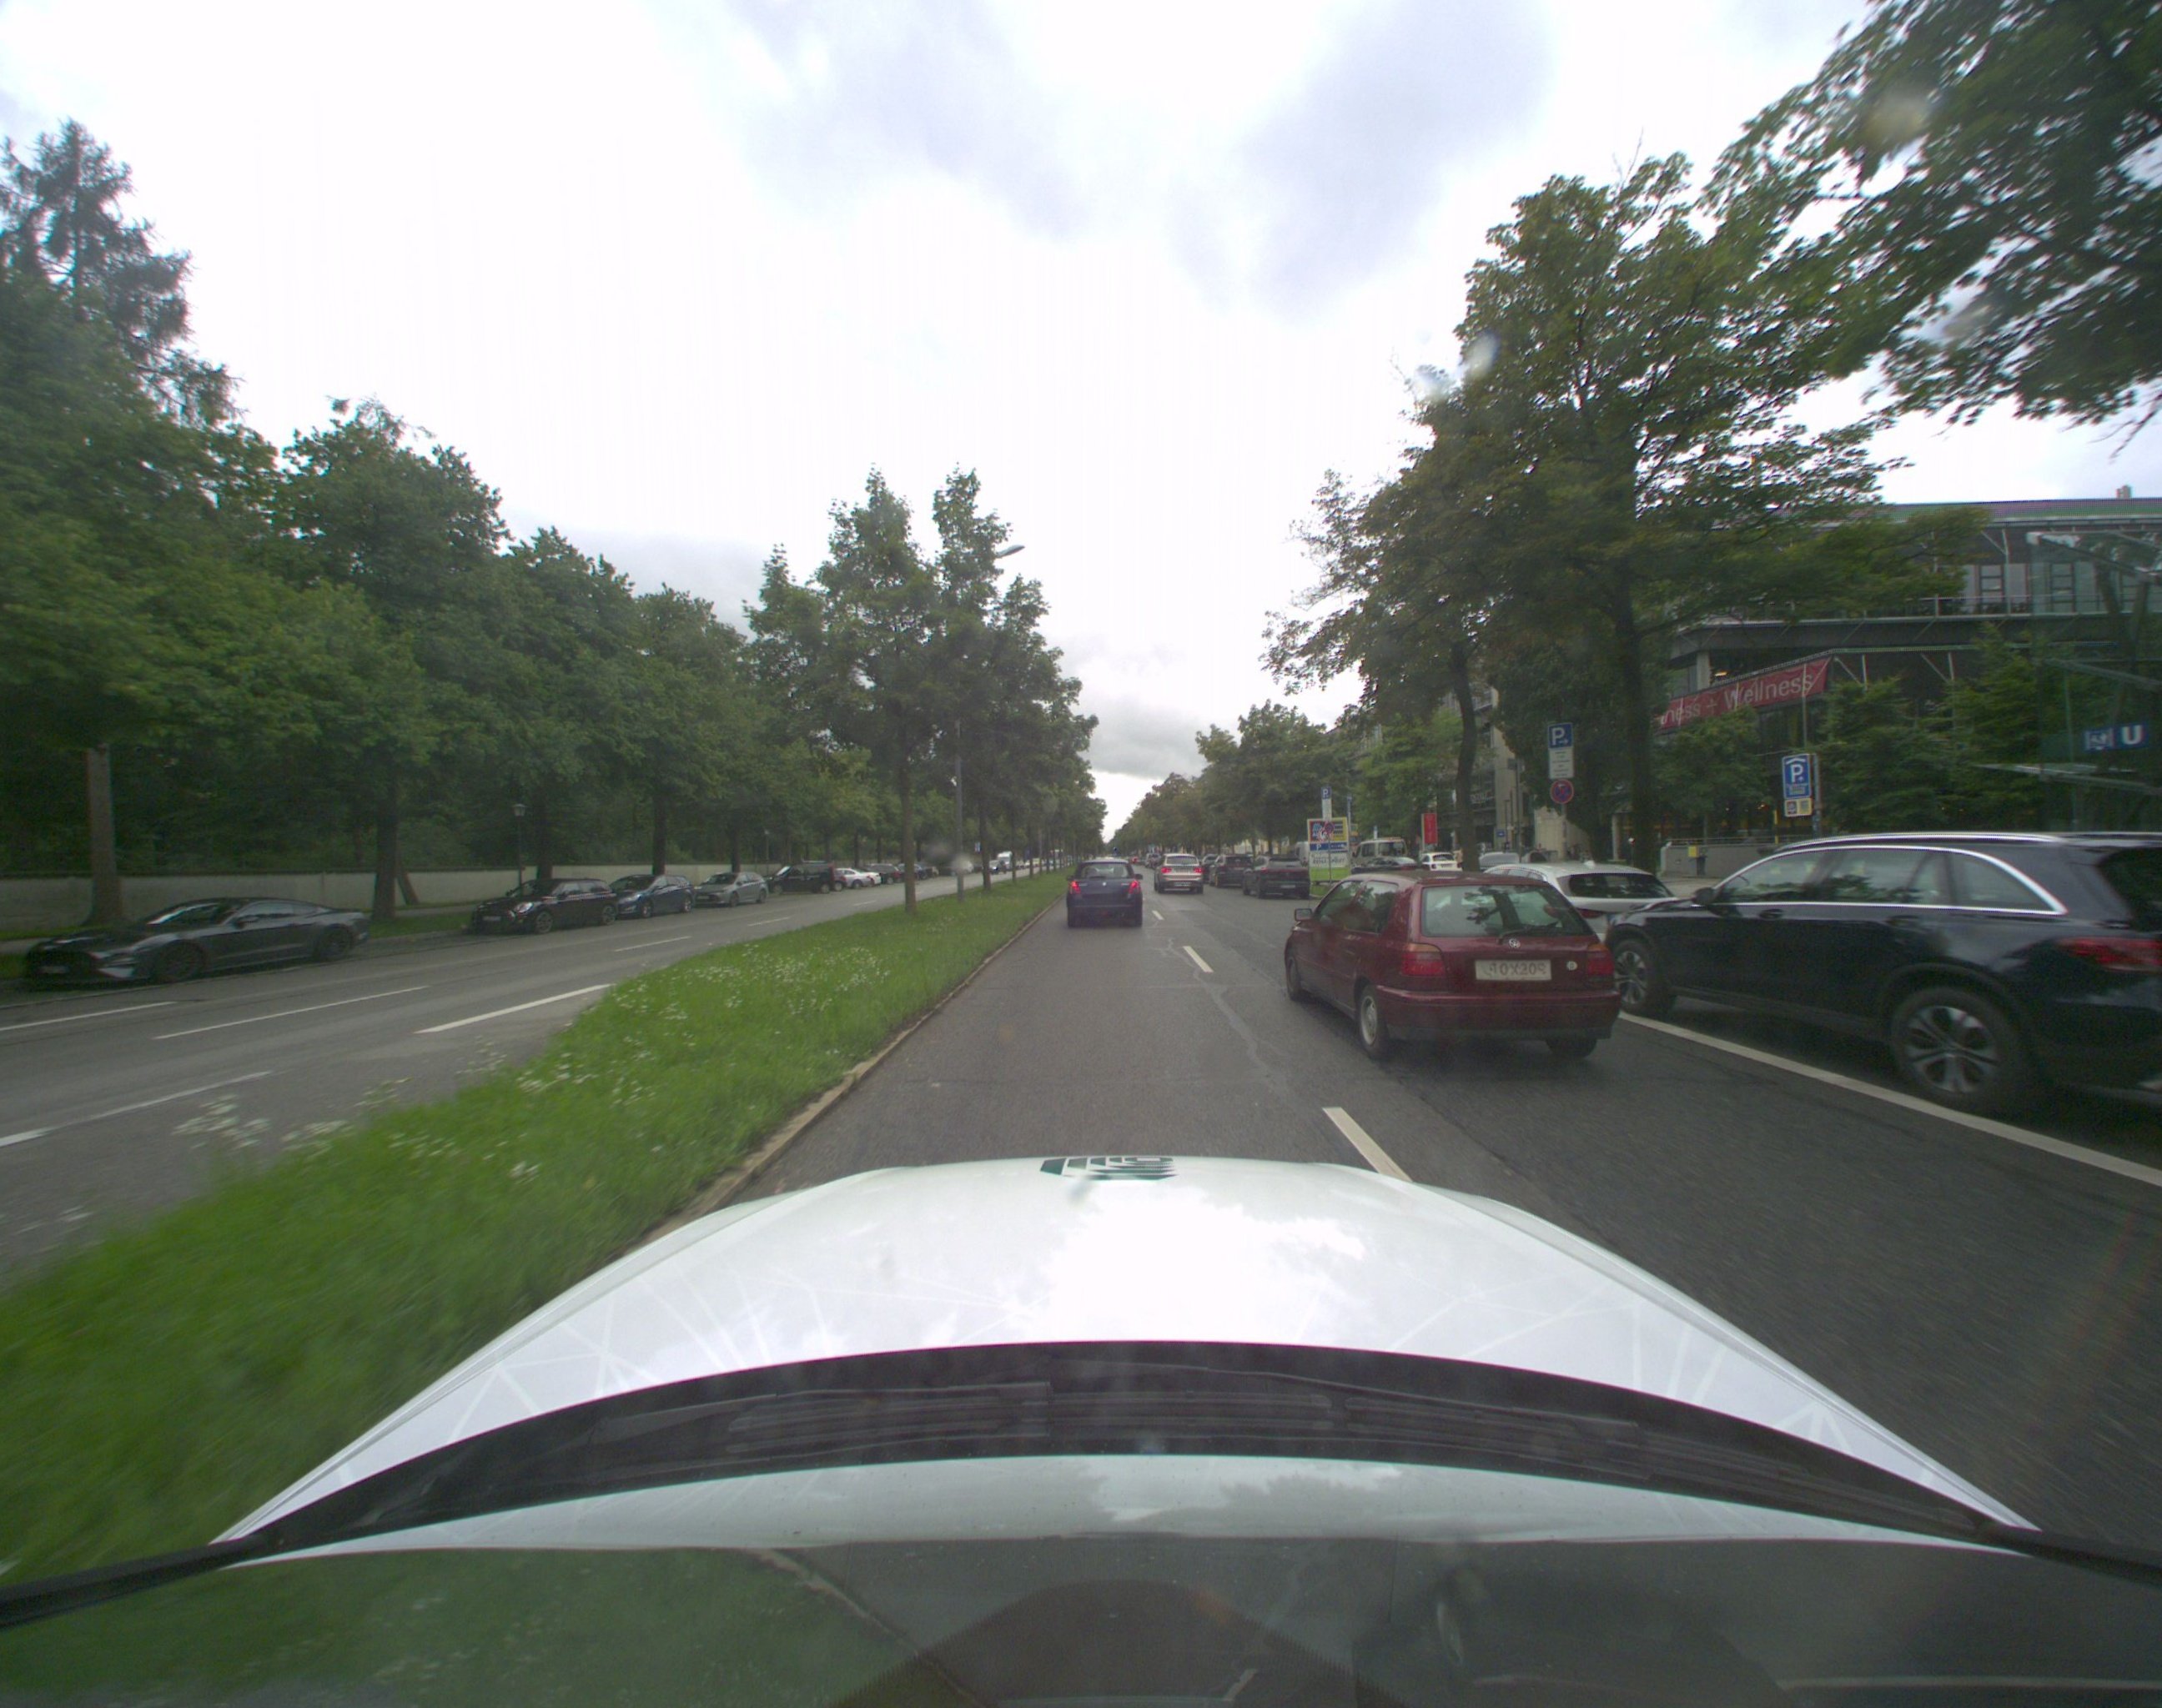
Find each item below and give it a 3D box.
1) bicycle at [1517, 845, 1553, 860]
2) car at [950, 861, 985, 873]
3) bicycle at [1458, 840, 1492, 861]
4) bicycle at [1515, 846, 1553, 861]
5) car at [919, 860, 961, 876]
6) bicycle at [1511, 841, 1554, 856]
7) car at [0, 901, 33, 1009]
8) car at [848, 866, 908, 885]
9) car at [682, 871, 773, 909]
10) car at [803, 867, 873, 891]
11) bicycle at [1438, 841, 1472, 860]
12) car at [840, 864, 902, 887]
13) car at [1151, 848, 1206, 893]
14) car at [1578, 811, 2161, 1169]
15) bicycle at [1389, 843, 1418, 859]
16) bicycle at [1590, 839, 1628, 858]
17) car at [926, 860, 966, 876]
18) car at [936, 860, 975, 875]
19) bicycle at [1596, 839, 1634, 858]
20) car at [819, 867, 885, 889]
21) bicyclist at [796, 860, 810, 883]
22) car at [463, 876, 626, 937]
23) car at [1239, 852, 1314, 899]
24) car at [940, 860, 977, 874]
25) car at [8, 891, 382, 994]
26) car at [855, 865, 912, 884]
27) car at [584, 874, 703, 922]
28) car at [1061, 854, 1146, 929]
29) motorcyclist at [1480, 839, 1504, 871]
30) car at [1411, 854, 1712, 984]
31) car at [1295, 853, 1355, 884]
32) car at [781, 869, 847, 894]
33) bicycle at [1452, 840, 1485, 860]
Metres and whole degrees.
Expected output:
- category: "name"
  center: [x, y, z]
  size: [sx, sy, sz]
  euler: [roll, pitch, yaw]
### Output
- category: "bicycle"
  center: [30.691, -0.126, 55.042]
  size: [2.021, 0.958, 0.751]
  euler: [-2, 0, 39]
- category: "car"
  center: [-14.812, 1.709, 106.283]
  size: [4.122, 1.474, 1.688]
  euler: [0, -1, -32]
- category: "bicycle"
  center: [30.878, -0.270, 63.785]
  size: [2.618, 1.508, 0.793]
  euler: [-2, 0, -20]
- category: "bicycle"
  center: [29.337, -0.019, 52.795]
  size: [0.751, 0.958, 2.022]
  euler: [-1, 0, -44]
- category: "car"
  center: [-15.616, 1.552, 90.157]
  size: [4.122, 1.695, 1.900]
  euler: [-2, 0, -32]
- category: "bicycle"
  center: [29.943, -0.362, 54.029]
  size: [0.776, 0.870, 2.373]
  euler: [-1, 0, -44]
- category: "car"
  center: [-16.135, 1.434, 9.335]
  size: [1.792, 1.490, 4.917]
  euler: [0, 0, 2]
- category: "car"
  center: [-16.184, 1.692, 64.919]
  size: [4.217, 1.322, 1.900]
  euler: [-2, 0, -32]
- category: "car"
  center: [-15.114, 1.501, 35.120]
  size: [1.629, 1.439, 4.812]
  euler: [0, 0, 3]
- category: "car"
  center: [-15.948, 1.627, 53.425]
  size: [4.015, 1.354, 1.832]
  euler: [-2, 0, -33]
- category: "bicycle"
  center: [31.112, -0.305, 67.803]
  size: [2.612, 1.508, 0.795]
  euler: [-2, 0, -12]
- category: "car"
  center: [-16.037, 1.607, 62.187]
  size: [4.127, 1.597, 1.897]
  euler: [-2, 0, -37]
- category: "car"
  center: [4.090, 0.672, 34.684]
  size: [1.844, 1.743, 4.097]
  euler: [-1, 0, 0]
- category: "car"
  center: [5.979, 0.621, 6.087]
  size: [1.780, 1.675, 4.596]
  euler: [-1, 0, 1]
- category: "bicycle"
  center: [31.917, -0.289, 80.616]
  size: [2.605, 1.508, 0.797]
  euler: [-2, 0, -5]
- category: "bicycle"
  center: [35.503, -0.381, 54.783]
  size: [2.130, 1.204, 0.586]
  euler: [-1, 0, -1]
- category: "car"
  center: [-15.457, 1.549, 93.513]
  size: [4.122, 1.695, 1.900]
  euler: [-2, 0, -32]
- category: "car"
  center: [-14.950, 1.603, 97.213]
  size: [4.122, 1.585, 1.900]
  euler: [-2, 0, -32]
- category: "bicycle"
  center: [35.529, -0.382, 54.156]
  size: [2.130, 1.204, 0.586]
  euler: [-1, 0, -1]
- category: "car"
  center: [-15.919, 1.655, 56.657]
  size: [4.059, 1.381, 1.657]
  euler: [-1, 0, -34]
- category: "bicyclist"
  center: [-21.160, 1.325, 62.057]
  size: [0.702, 1.747, 0.923]
  euler: [-2, 0, 2]
- category: "car"
  center: [-15.356, 1.447, 23.640]
  size: [1.563, 1.503, 4.310]
  euler: [0, 0, 6]
- category: "car"
  center: [7.242, 0.765, 30.585]
  size: [1.755, 1.589, 4.453]
  euler: [-1, 0, 1]
- category: "car"
  center: [-15.068, 1.585, 100.241]
  size: [4.122, 1.652, 1.900]
  euler: [-2, 0, -32]
- category: "car"
  center: [-15.836, 1.484, 15.047]
  size: [1.653, 1.396, 4.709]
  euler: [0, 0, 2]
- category: "car"
  center: [-16.506, 1.727, 68.044]
  size: [4.213, 1.410, 1.900]
  euler: [-2, 0, -32]
- category: "car"
  center: [-15.384, 1.487, 28.971]
  size: [1.581, 1.459, 4.799]
  euler: [0, 0, 1]
- category: "car"
  center: [0.489, 0.802, 19.324]
  size: [1.783, 1.555, 4.000]
  euler: [-1, 0, 0]
- category: "motorcyclist"
  center: [23.103, 0.074, 45.805]
  size: [0.688, 1.737, 0.954]
  euler: [-6, -1, 2]
- category: "car"
  center: [6.339, 0.742, 11.447]
  size: [1.647, 1.434, 4.484]
  euler: [-1, 0, 1]
- category: "car"
  center: [11.985, 0.687, 40.254]
  size: [1.758, 1.488, 3.998]
  euler: [0, 0, -1]
- category: "car"
  center: [-16.333, 1.649, 49.823]
  size: [3.590, 1.354, 1.737]
  euler: [-1, 0, -29]
- category: "bicycle"
  center: [30.802, -0.309, 64.734]
  size: [2.618, 1.508, 0.793]
  euler: [-2, 0, -20]
